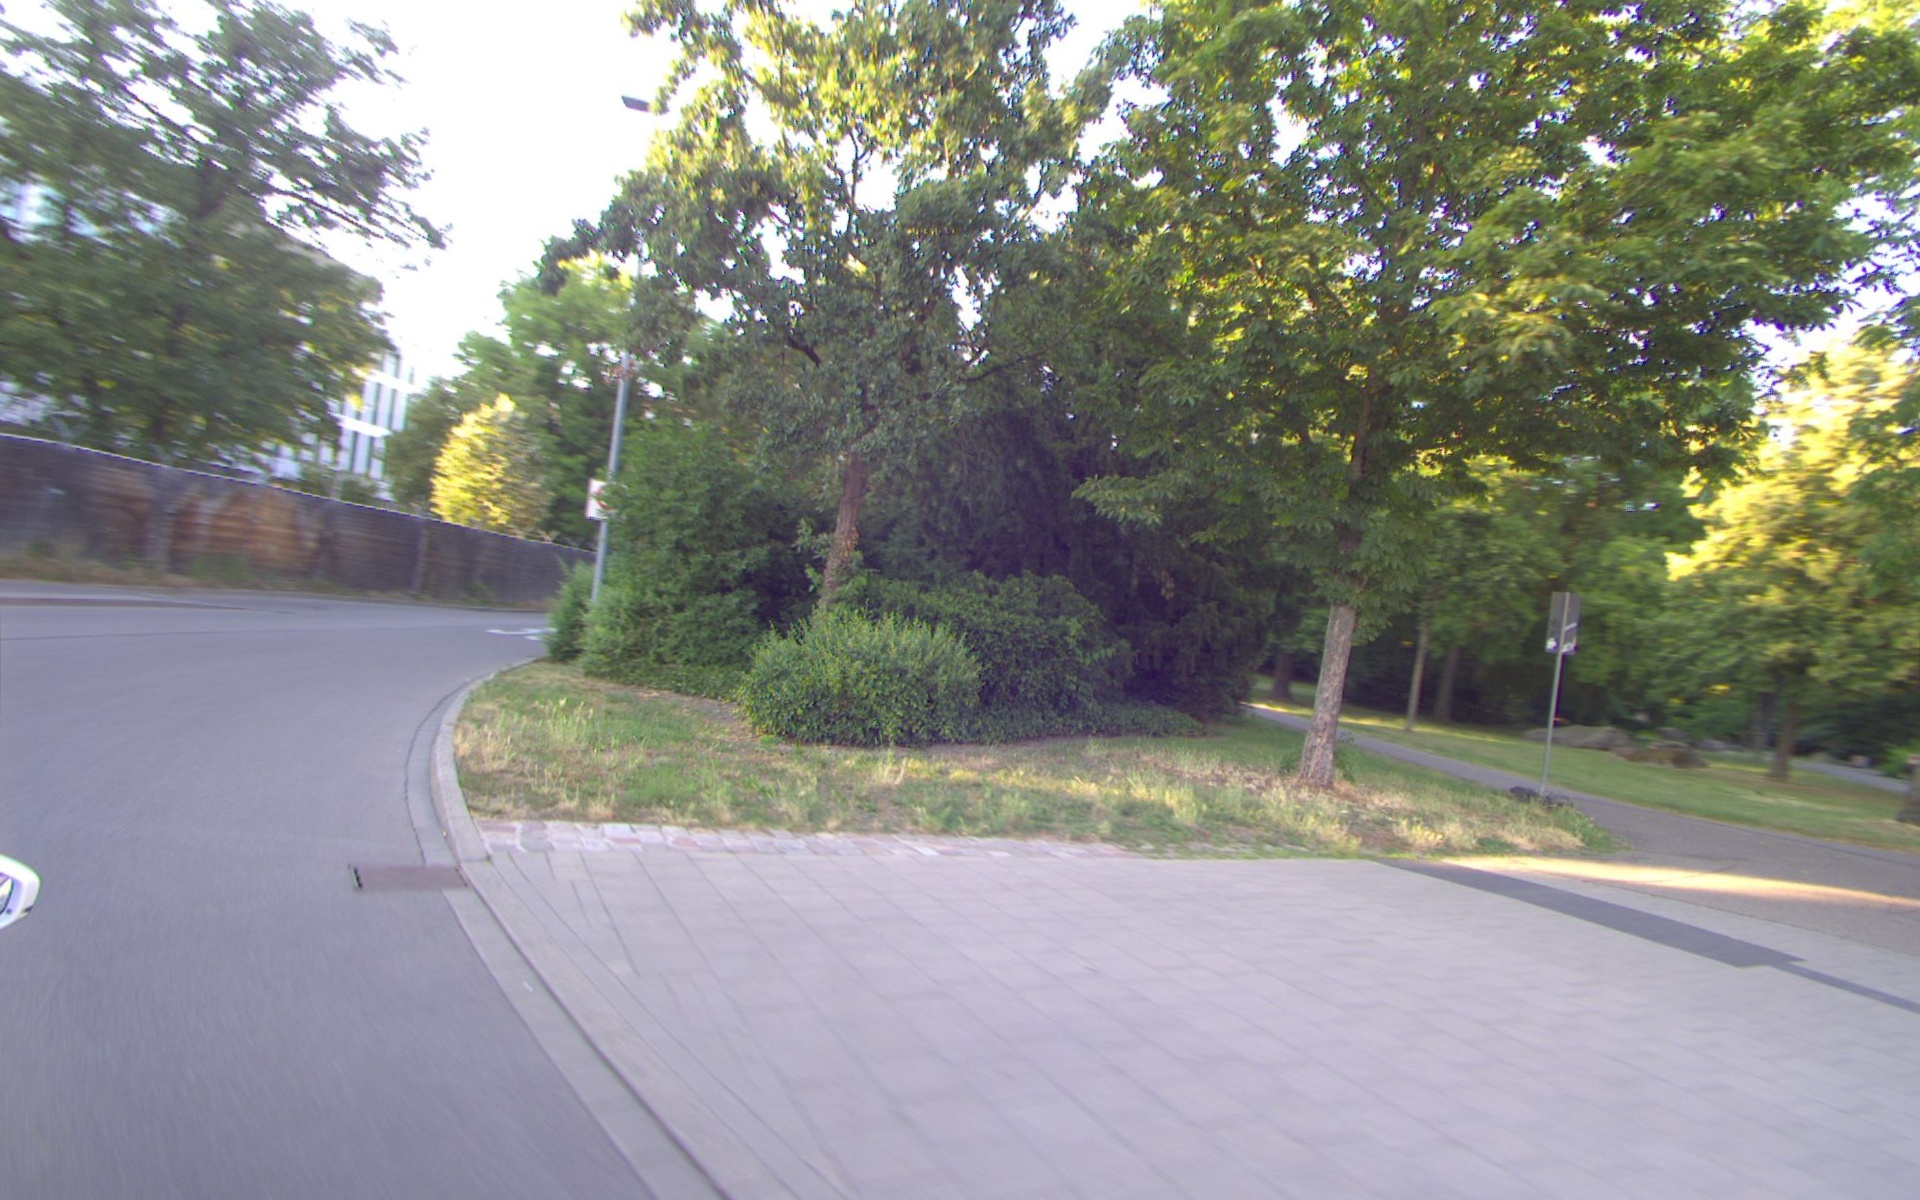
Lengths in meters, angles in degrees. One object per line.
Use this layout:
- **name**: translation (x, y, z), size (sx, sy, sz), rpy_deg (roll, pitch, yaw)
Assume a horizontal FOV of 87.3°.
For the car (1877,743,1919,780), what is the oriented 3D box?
- **car**: translation (42.058, 7.172, 43.622), size (3.187, 1.370, 1.557), rpy_deg (7, -1, 40)
